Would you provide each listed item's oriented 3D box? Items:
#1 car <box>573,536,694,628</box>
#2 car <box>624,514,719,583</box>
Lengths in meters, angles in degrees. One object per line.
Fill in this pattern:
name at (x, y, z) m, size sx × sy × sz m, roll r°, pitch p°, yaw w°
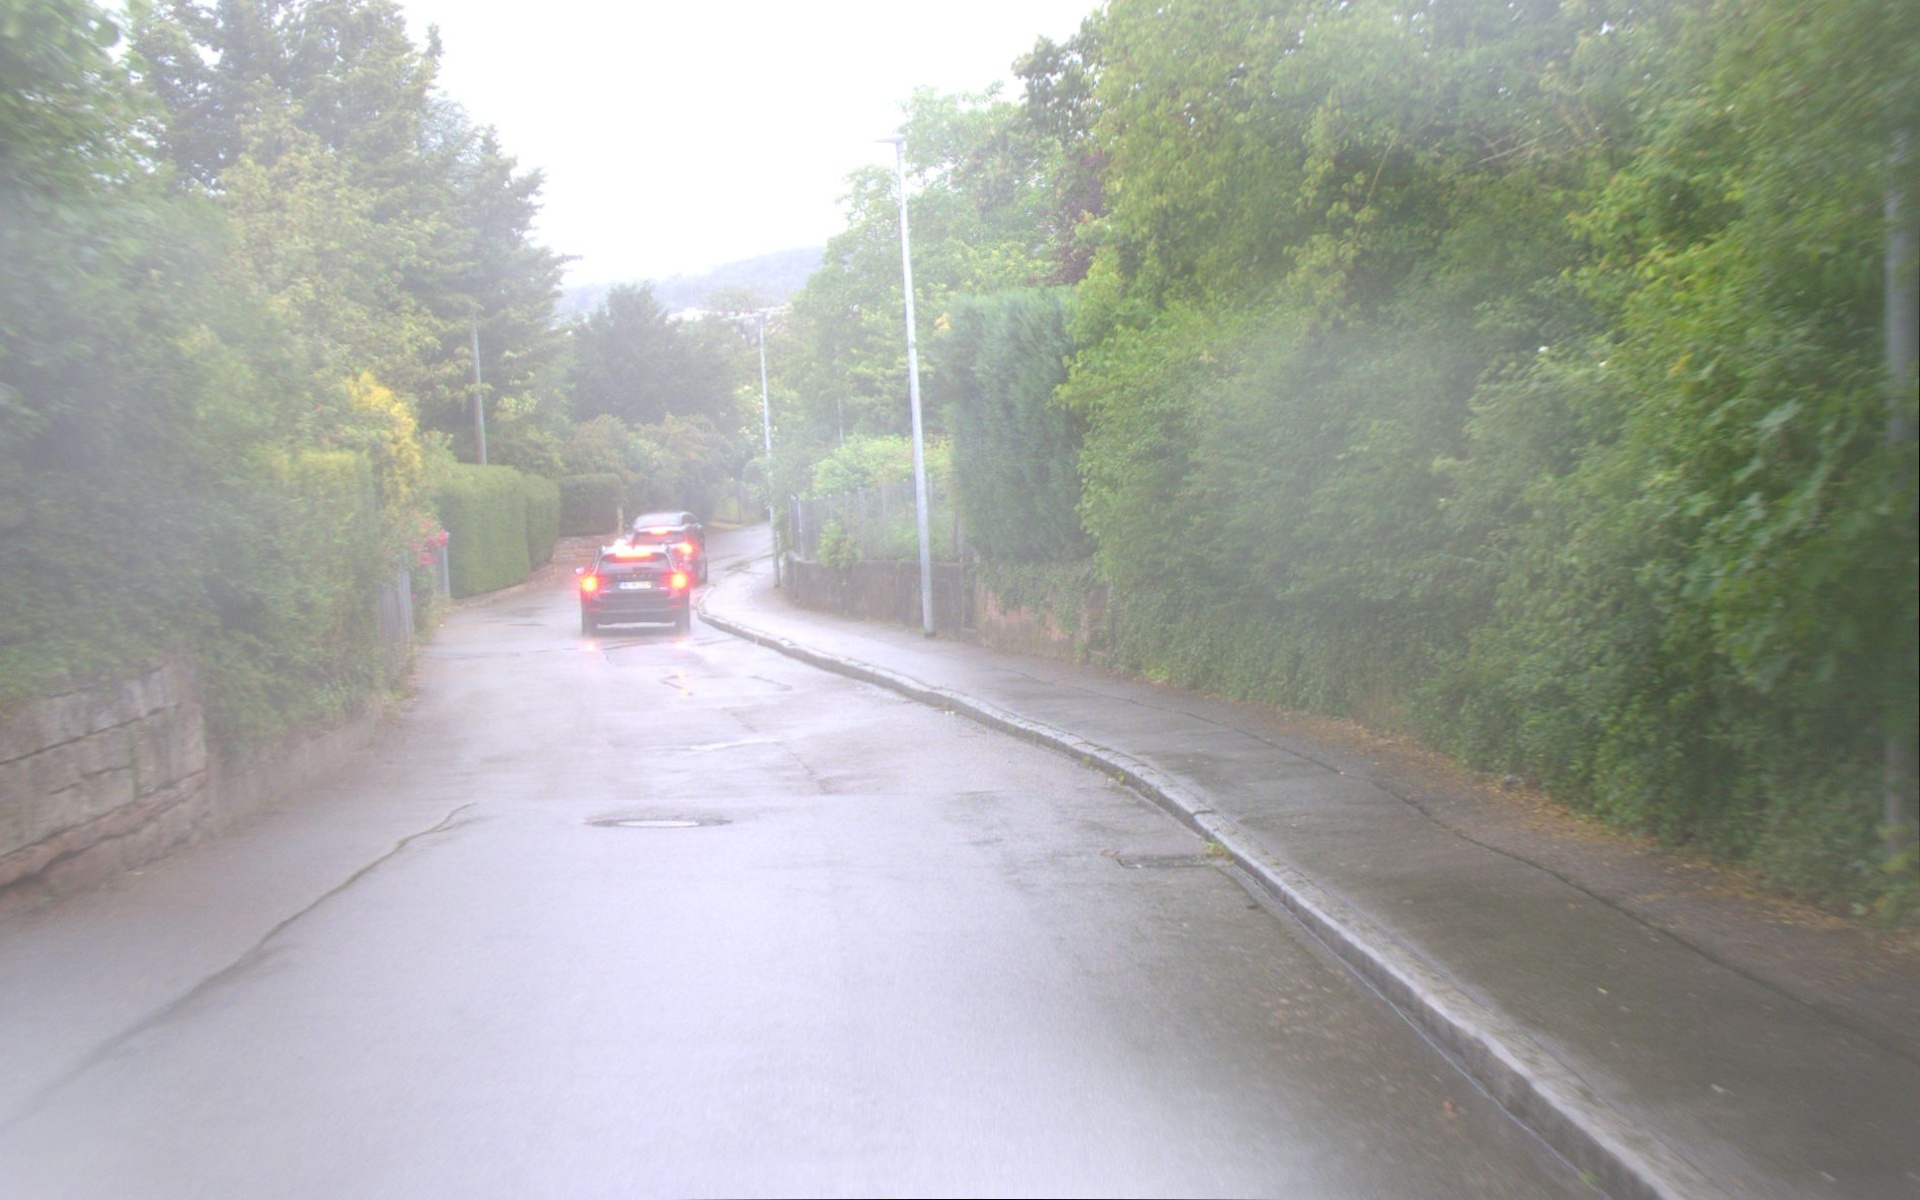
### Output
car at (-5.413, -0.318, 56.606) m, size 1.834 × 1.459 × 4.001 m, roll 0°, pitch 1°, yaw -8°
car at (-7.179, -1.306, 85.880) m, size 1.678 × 1.559 × 3.794 m, roll -1°, pitch 3°, yaw 6°
